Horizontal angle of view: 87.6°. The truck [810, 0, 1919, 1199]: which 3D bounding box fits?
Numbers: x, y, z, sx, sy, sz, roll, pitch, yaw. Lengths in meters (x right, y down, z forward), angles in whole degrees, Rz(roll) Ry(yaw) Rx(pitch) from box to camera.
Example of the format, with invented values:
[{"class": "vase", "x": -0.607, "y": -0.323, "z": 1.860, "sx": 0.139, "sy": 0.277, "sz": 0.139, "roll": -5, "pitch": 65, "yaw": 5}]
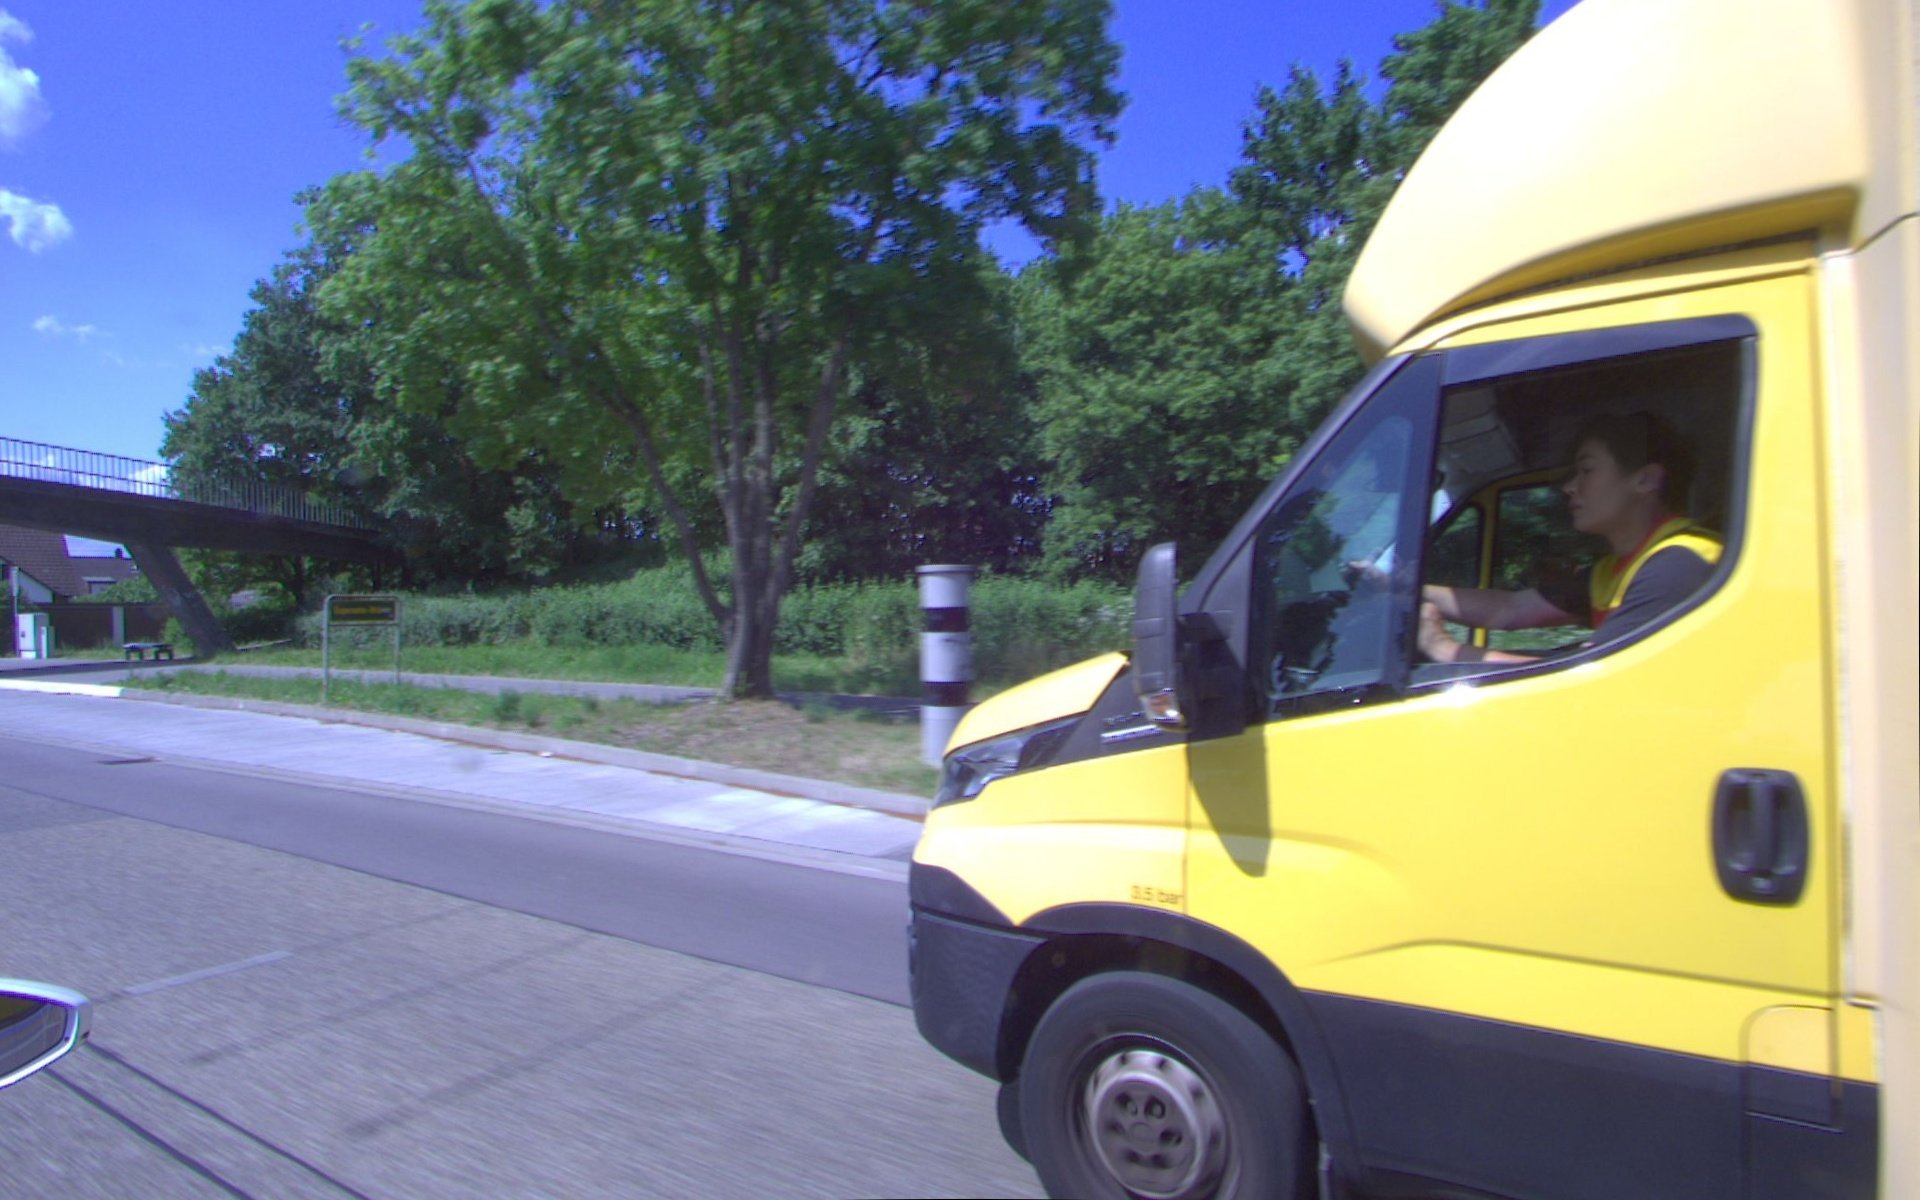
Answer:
[{"class": "truck", "x": 3.555, "y": 0.049, "z": 1.484, "sx": 7.912, "sy": 2.917, "sz": 2.261, "roll": 0, "pitch": -1, "yaw": 32}]
